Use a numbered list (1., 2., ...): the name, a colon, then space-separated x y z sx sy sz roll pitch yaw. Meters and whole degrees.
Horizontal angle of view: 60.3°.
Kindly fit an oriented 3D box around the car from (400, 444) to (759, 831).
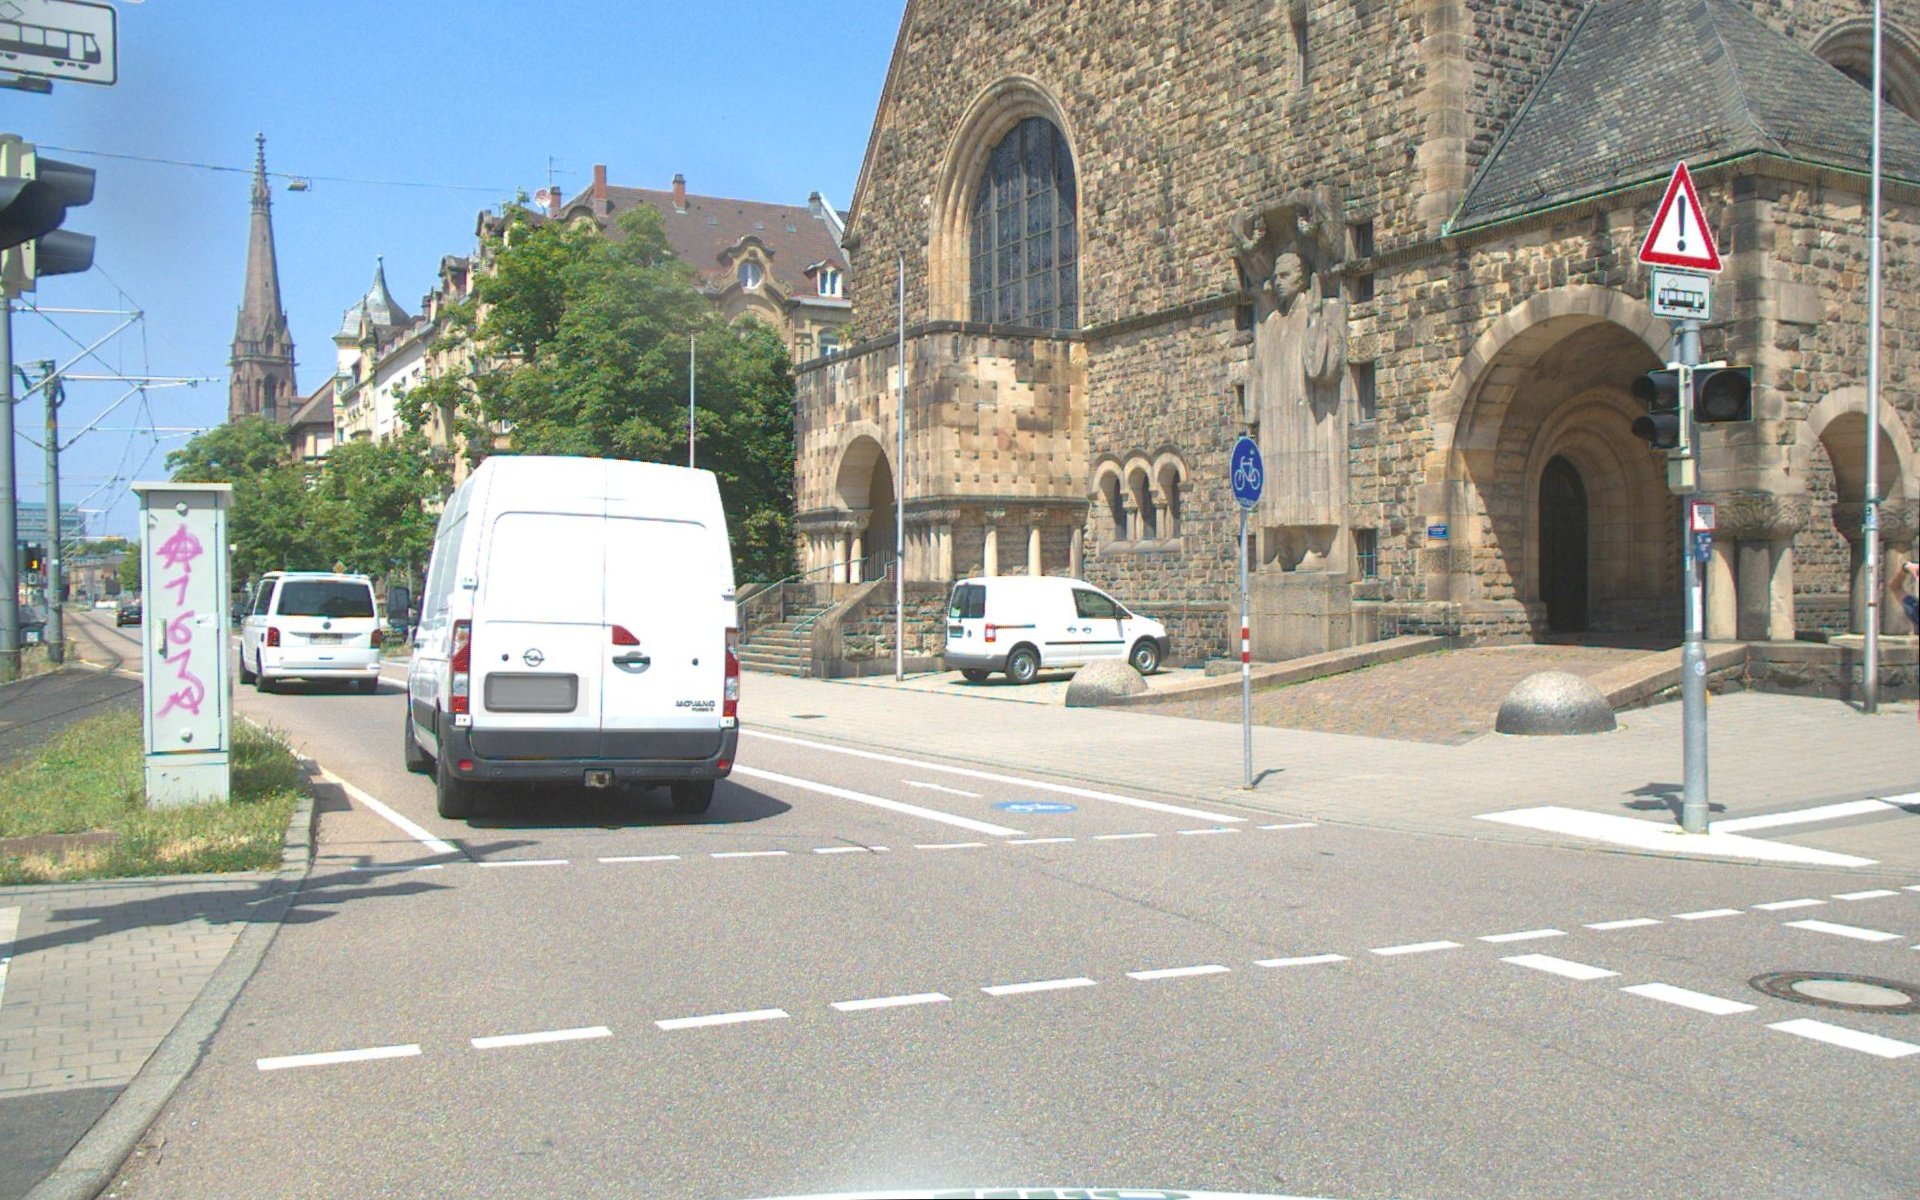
1. car: -3.297 0.280 13.423 2.087 2.502 5.021 2 -1 -21

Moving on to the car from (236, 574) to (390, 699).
1. car: -11.258 0.594 28.625 1.896 1.978 4.221 0 0 -30

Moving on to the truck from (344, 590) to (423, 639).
1. truck: -18.938 0.468 54.215 1.769 1.553 4.423 0 0 -28

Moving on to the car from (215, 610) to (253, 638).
1. car: -42.976 1.419 97.873 1.731 1.606 3.722 0 0 -29

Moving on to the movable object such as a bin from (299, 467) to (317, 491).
1. movable object such as a bin: -30.168 -5.607 76.523 0.777 1.032 0.645 0 -1 -23

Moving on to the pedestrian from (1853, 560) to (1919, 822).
1. pedestrian: 7.071 0.643 11.938 0.732 1.854 0.828 0 -1 -22

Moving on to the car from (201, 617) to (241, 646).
1. car: -41.657 1.756 93.196 1.731 1.606 3.722 0 0 -29

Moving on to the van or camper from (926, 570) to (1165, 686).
1. van or camper: 1.553 0.471 29.765 3.947 1.857 1.784 -2 0 -31

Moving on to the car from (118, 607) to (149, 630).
1. car: -56.232 1.252 112.516 1.731 1.566 3.722 0 0 -29
